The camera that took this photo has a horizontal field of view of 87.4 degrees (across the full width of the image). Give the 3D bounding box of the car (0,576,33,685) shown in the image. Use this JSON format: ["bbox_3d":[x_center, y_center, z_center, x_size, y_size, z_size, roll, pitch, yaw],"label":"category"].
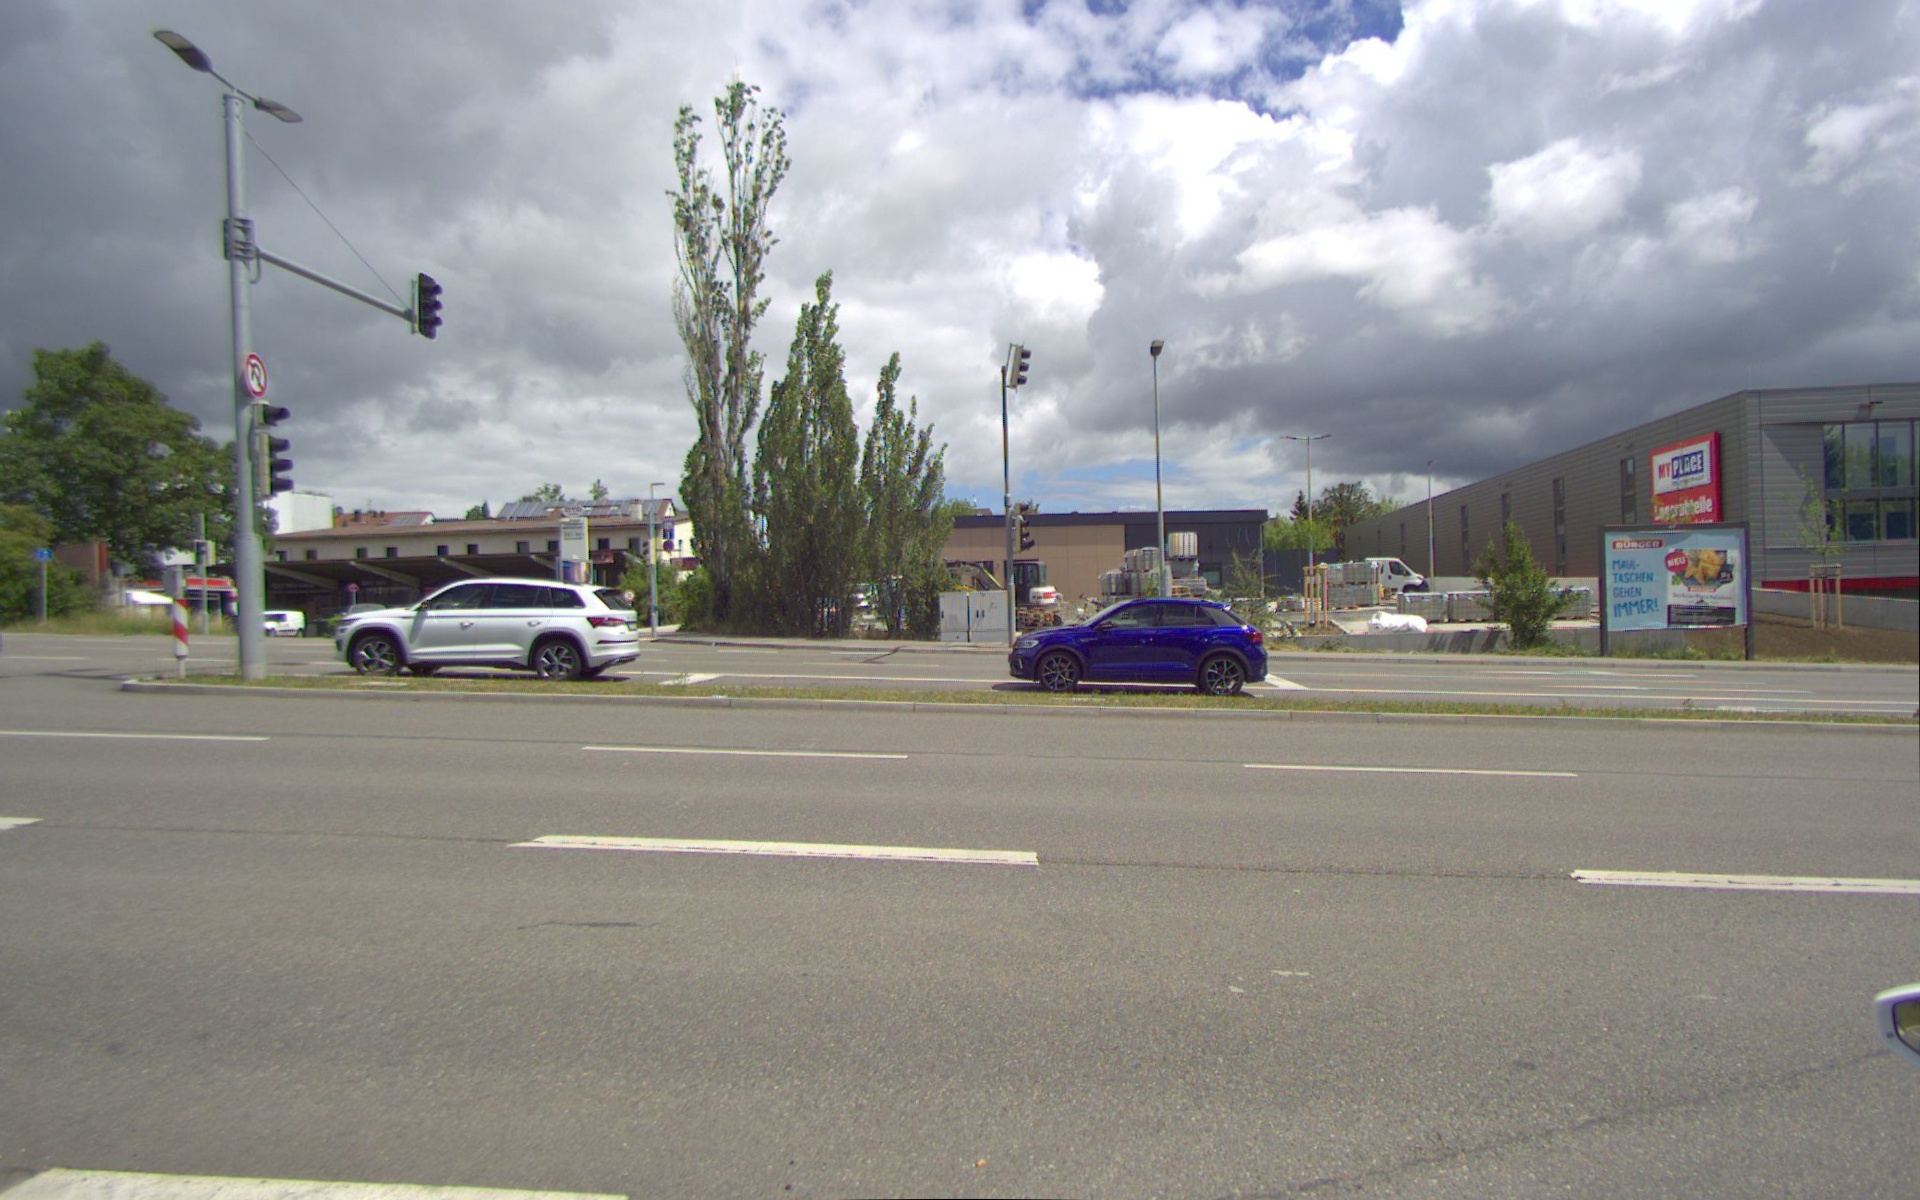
[{"bbox_3d":[-14.825,0.367,13.291,3.488,1.480,1.570,2,-2,-34],"label":"car"}]

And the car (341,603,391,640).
[{"bbox_3d":[-24.173,0.851,40.844,1.677,1.419,3.966,0,0,-31],"label":"car"}]

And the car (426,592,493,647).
[{"bbox_3d":[-20.540,0.828,41.357,1.971,2.040,3.981,-4,0,-22],"label":"car"}]

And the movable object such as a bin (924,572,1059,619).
[{"bbox_3d":[1.700,-0.213,54.087,6.808,2.040,2.296,-4,0,17],"label":"movable object such as a bin"}]

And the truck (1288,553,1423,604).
[{"bbox_3d":[20.955,-1.138,53.567,6.452,2.174,2.000,-4,0,19],"label":"truck"}]

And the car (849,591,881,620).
[{"bbox_3d":[-5.970,0.358,62.856,1.683,1.757,3.729,1,0,-10],"label":"car"}]

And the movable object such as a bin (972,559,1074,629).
[{"bbox_3d":[2.414,-0.223,38.292,3.348,2.572,2.152,1,0,22],"label":"movable object such as a bin"}]

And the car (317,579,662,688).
[{"bbox_3d":[-7.544,0.508,16.488,4.807,1.681,1.732,0,1,-4],"label":"car"}]

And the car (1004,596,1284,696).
[{"bbox_3d":[2.926,0.705,16.546,4.309,1.531,1.811,0,0,5],"label":"car"}]
